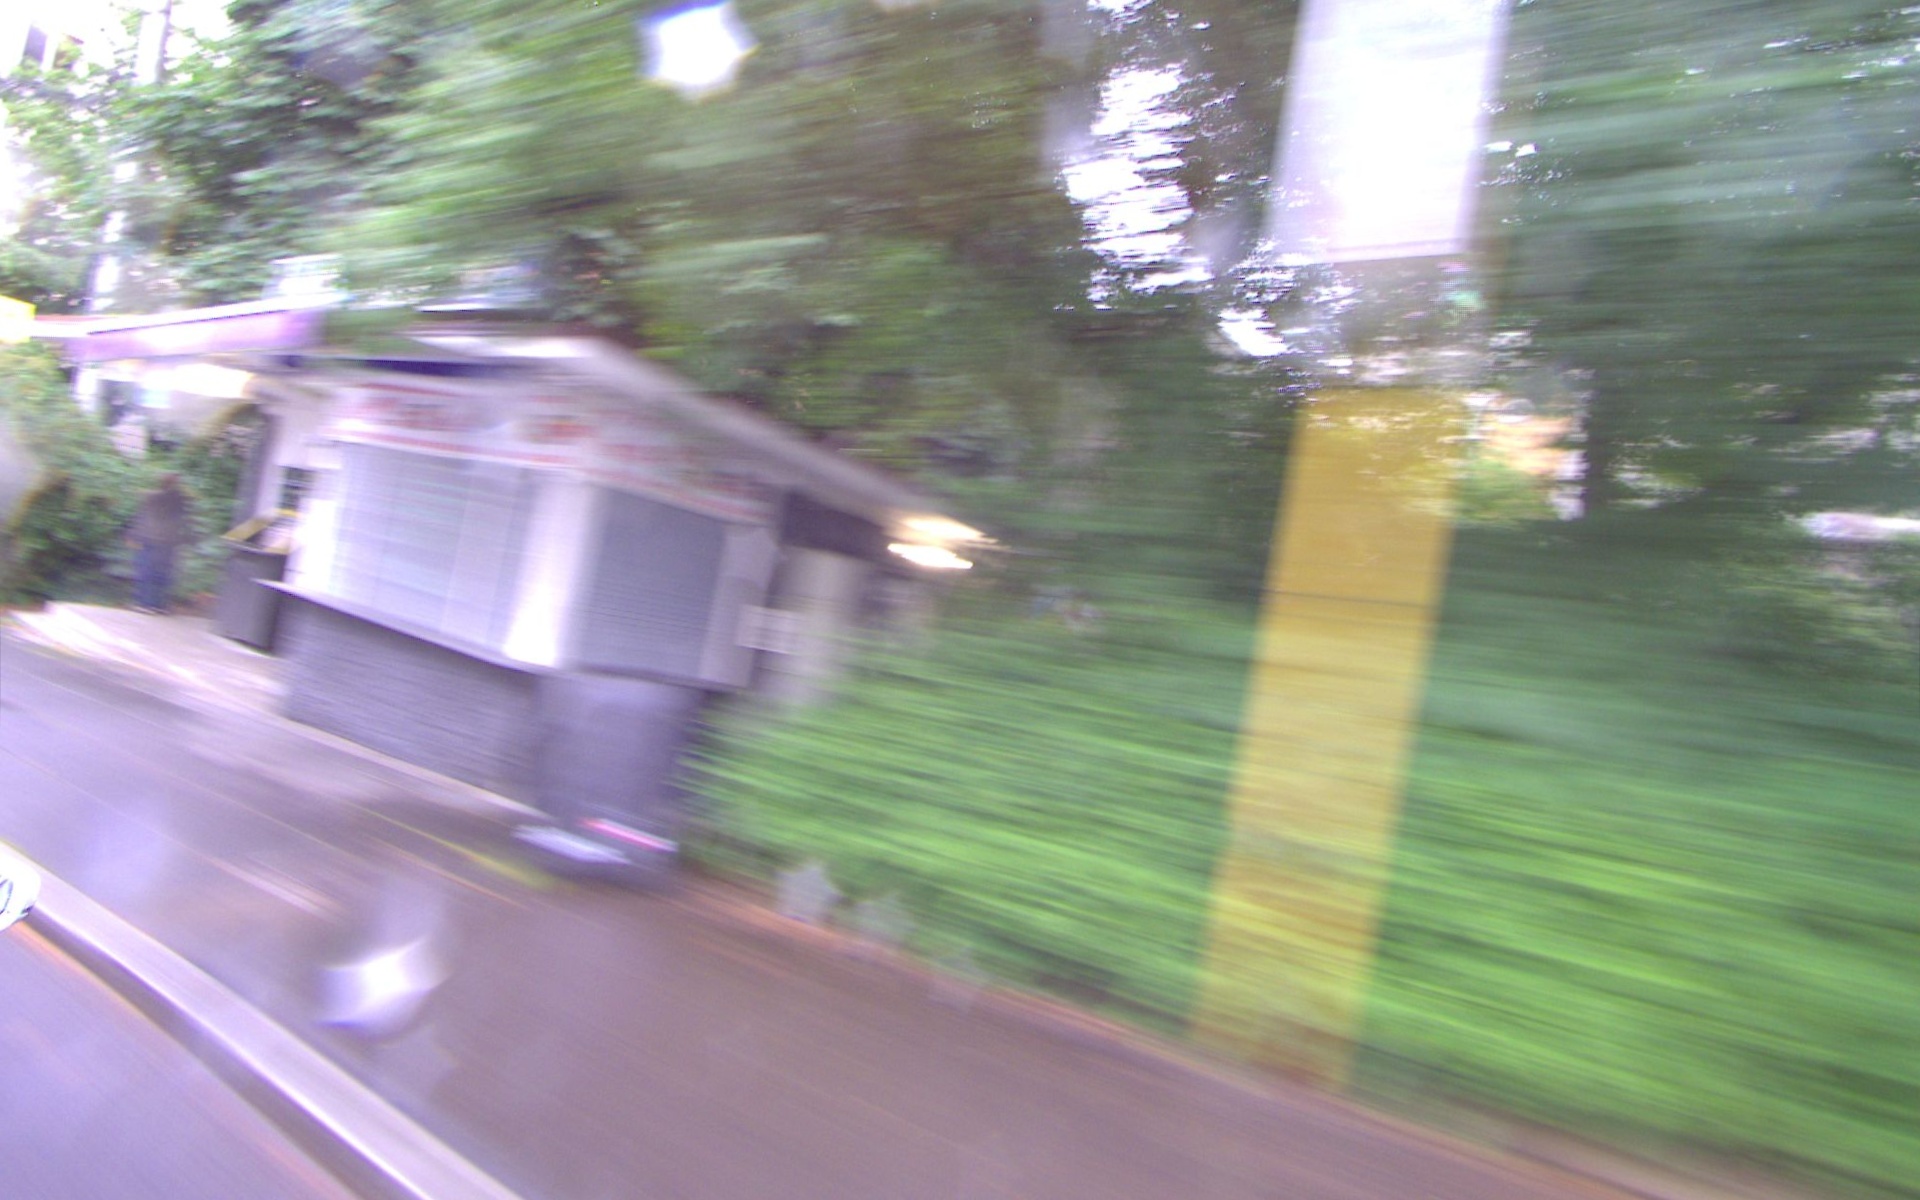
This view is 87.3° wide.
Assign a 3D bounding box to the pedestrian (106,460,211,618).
[{"bbox_3d":[-9.589,-0.721,12.046,0.604,1.765,0.604,7,-2,31],"label":"pedestrian"}]
